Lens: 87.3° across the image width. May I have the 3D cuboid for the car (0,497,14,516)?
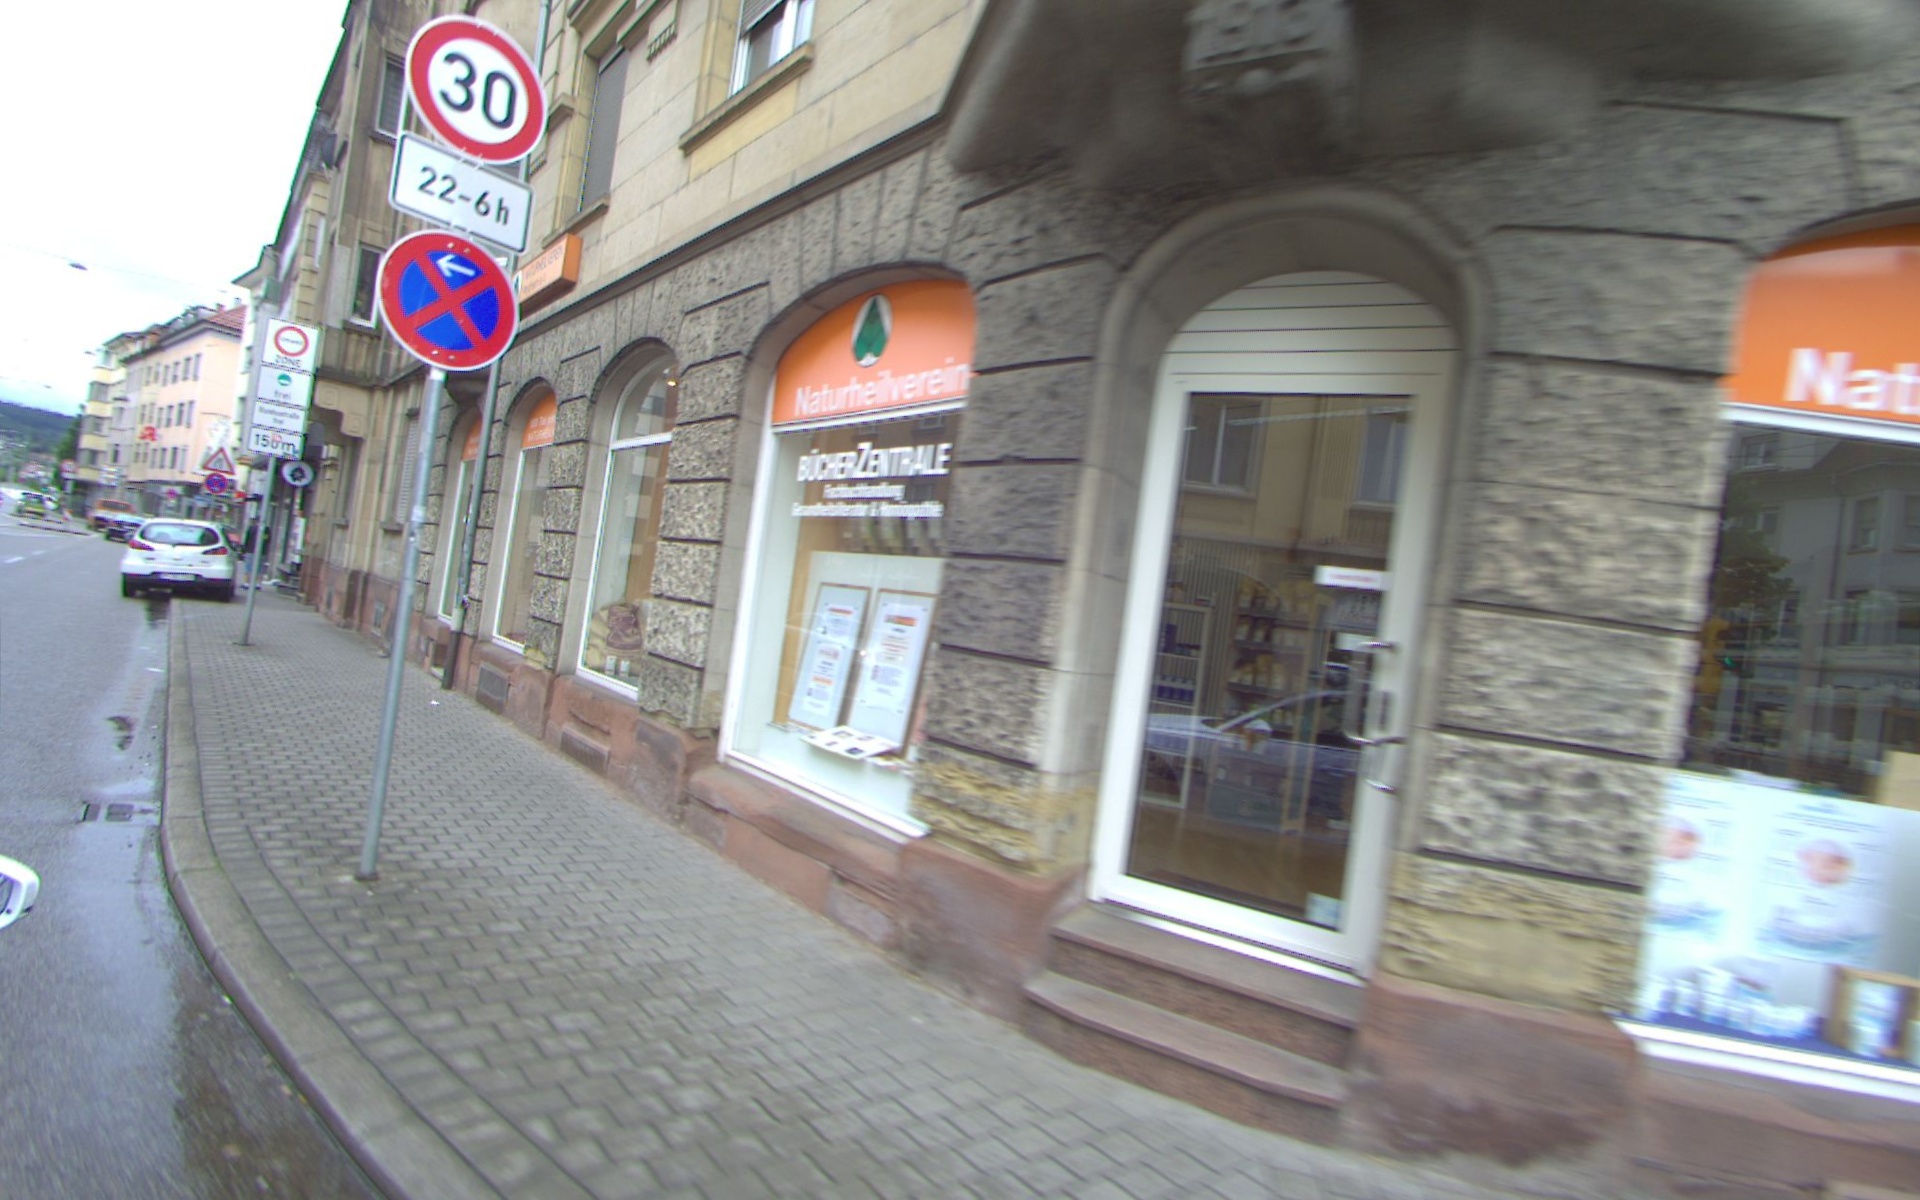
[{"bbox_3d":[-93.166,-9.172,97.460,3.946,1.670,1.752,6,-2,43],"label":"car"}]

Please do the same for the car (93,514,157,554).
[{"bbox_3d":[-39.930,-3.174,48.079,3.946,1.496,1.752,6,-2,43],"label":"car"}]

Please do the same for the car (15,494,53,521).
[{"bbox_3d":[-71.539,-7.154,77.695,3.946,1.670,1.752,6,-2,43],"label":"car"}]

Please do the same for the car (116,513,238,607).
[{"bbox_3d":[-15.868,-0.835,20.488,1.640,1.511,4.403,8,-2,-37],"label":"car"}]

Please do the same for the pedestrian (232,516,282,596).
[{"bbox_3d":[-17.012,-1.065,24.334,0.741,1.800,0.786,8,-1,-41],"label":"pedestrian"}]

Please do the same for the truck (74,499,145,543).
[{"bbox_3d":[-50.280,-4.688,59.459,5.243,2.154,2.397,6,-2,42],"label":"truck"}]

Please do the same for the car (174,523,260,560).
[{"bbox_3d":[-44.663,-3.525,60.504,1.912,1.592,3.818,6,-3,45],"label":"car"}]

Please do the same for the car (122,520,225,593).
[{"bbox_3d":[-19.327,-1.118,24.728,1.737,1.385,4.268,9,-1,-39],"label":"car"}]
